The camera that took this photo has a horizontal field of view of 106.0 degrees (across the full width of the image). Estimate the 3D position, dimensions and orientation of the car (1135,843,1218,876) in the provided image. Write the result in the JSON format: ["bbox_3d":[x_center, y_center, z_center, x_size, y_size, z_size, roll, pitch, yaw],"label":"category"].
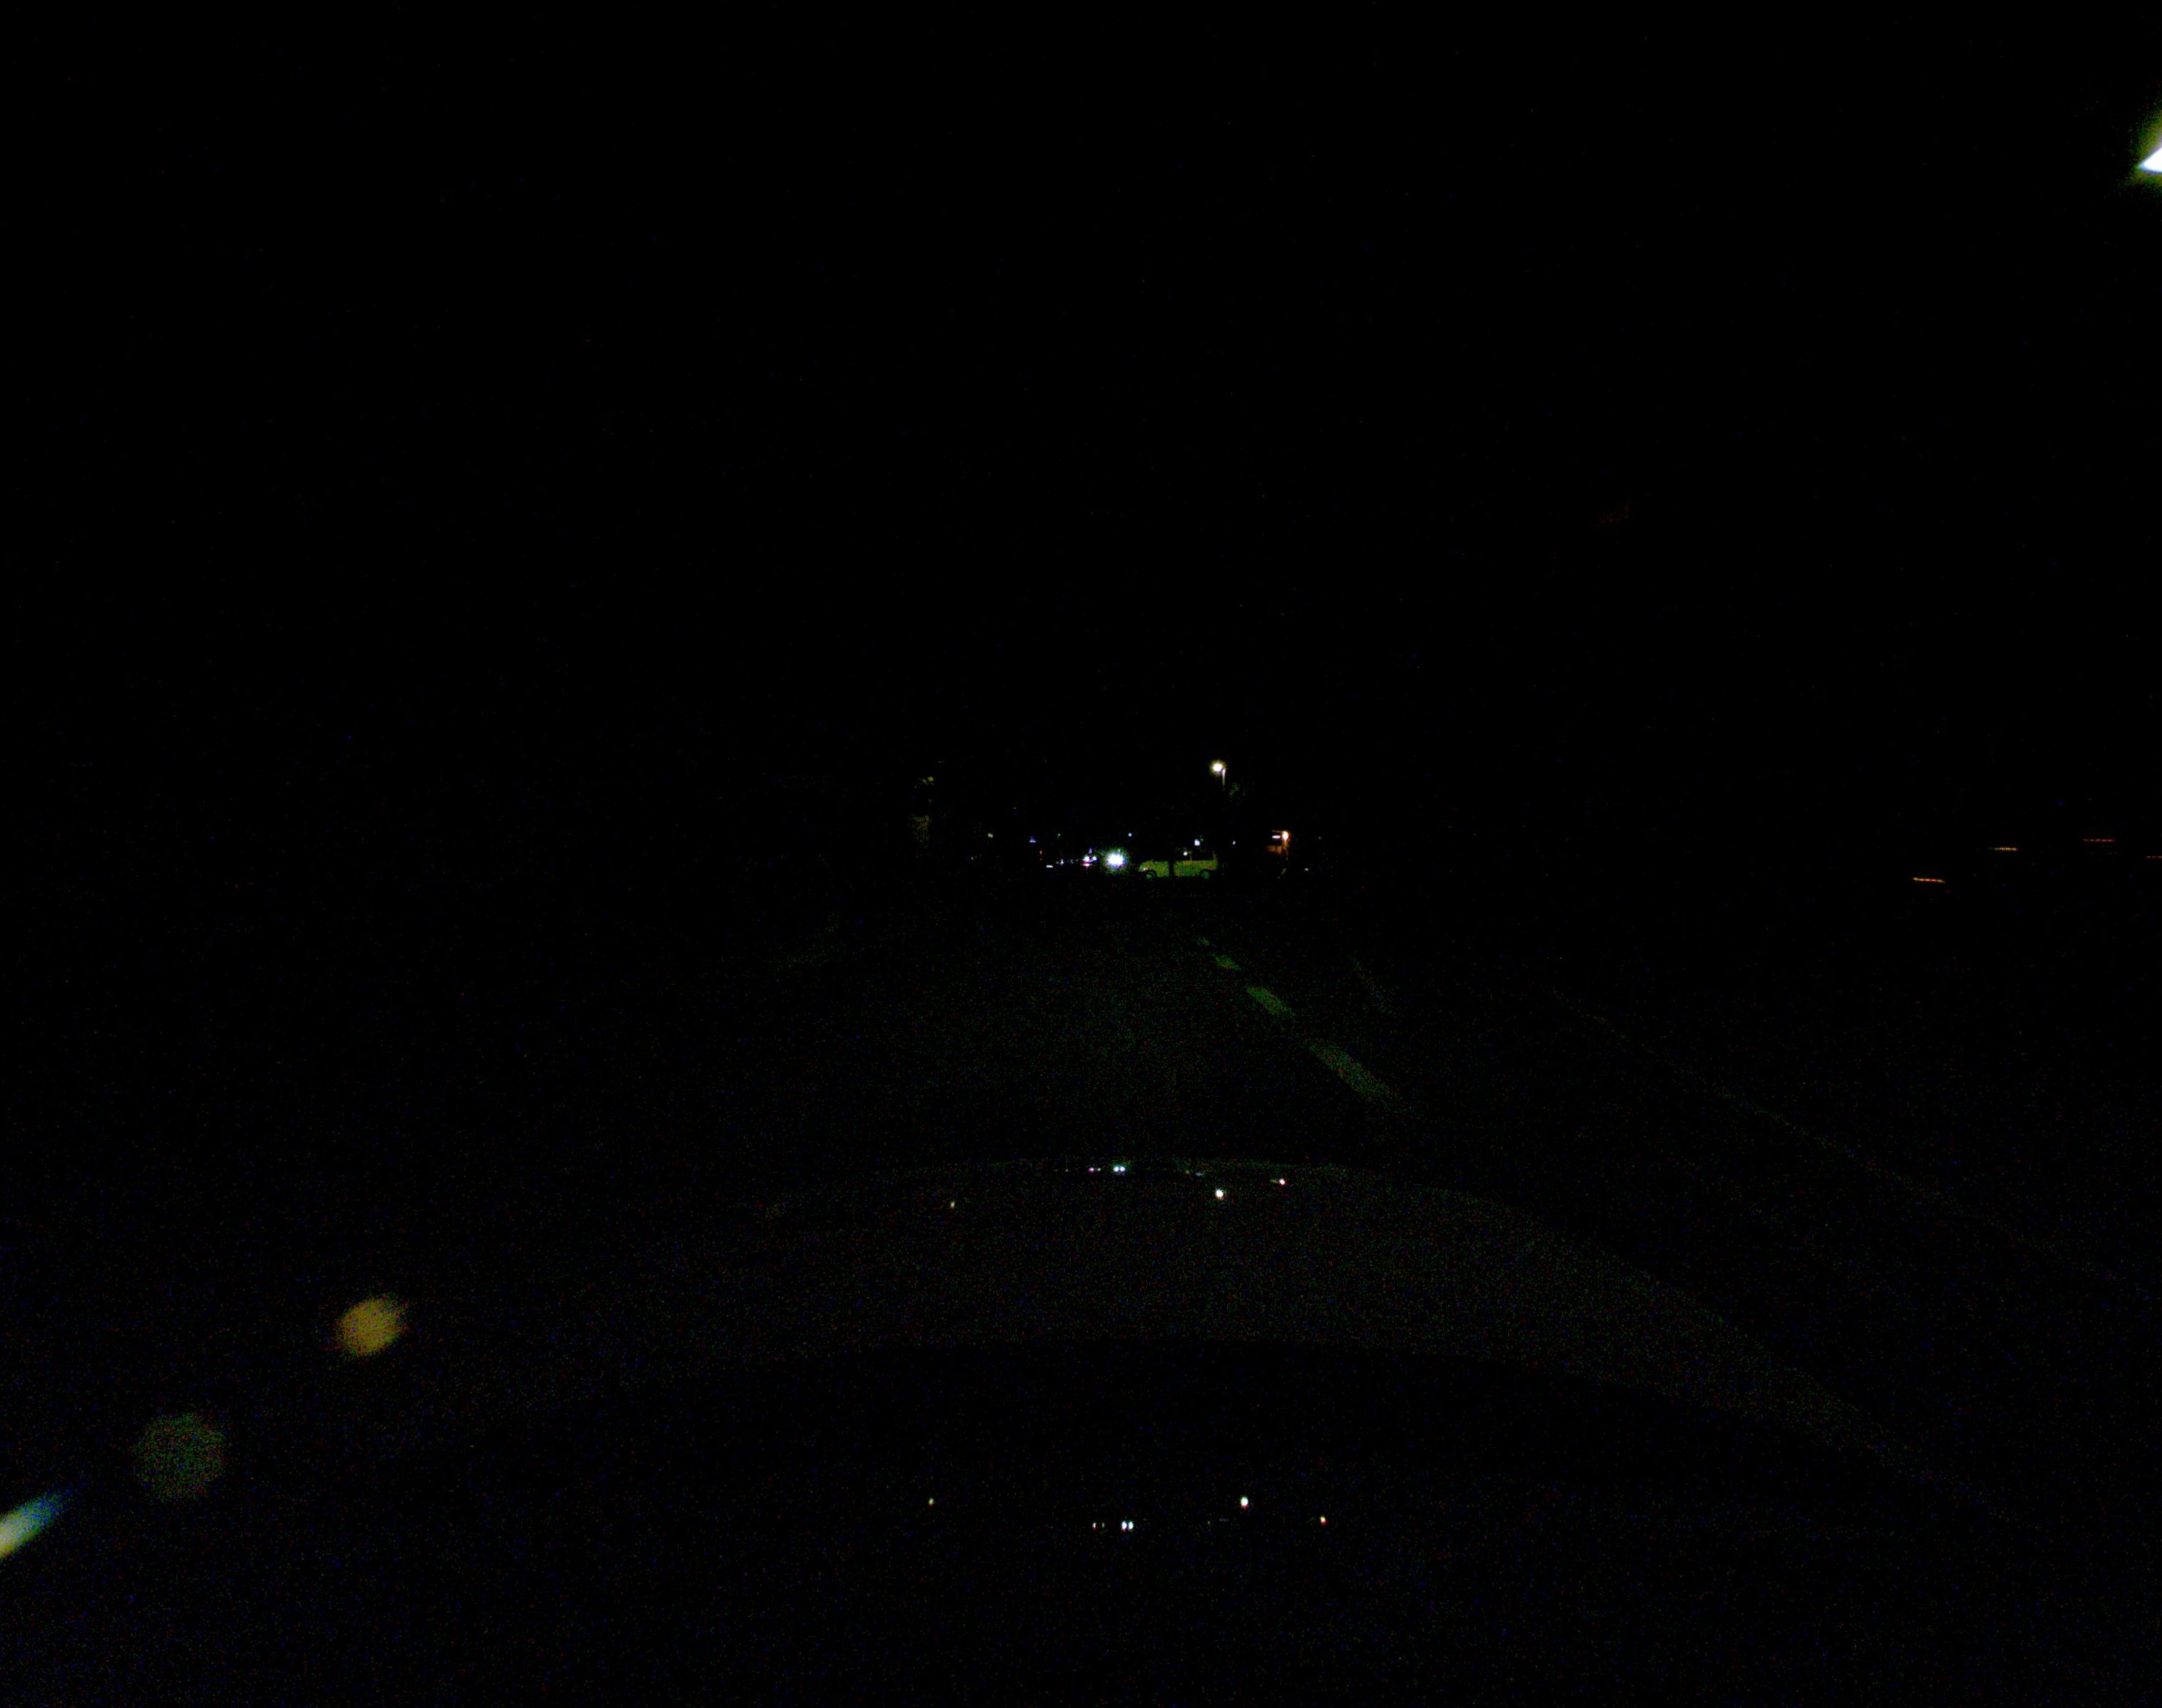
[{"bbox_3d":[6.132,0.364,52.757,5.166,2.013,2.101,-1,0,0],"label":"car"}]

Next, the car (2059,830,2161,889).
[{"bbox_3d":[29.166,0.089,22.582,4.723,1.474,1.746,-2,0,-29],"label":"car"}]

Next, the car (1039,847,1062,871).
[{"bbox_3d":[-2.675,0.422,73.293,1.819,1.986,4.465,2,0,0],"label":"car"}]

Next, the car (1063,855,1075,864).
[{"bbox_3d":[-1.801,0.765,122.224,1.677,1.331,3.599,0,0,0],"label":"car"}]

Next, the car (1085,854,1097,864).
[{"bbox_3d":[1.648,0.813,135.799,1.921,1.648,3.821,-1,0,0],"label":"car"}]

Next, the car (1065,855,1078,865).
[{"bbox_3d":[-1.235,0.789,106.691,1.677,1.331,3.599,0,0,0],"label":"car"}]

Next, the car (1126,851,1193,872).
[{"bbox_3d":[6.345,0.581,66.230,5.166,1.594,2.101,-1,0,0],"label":"car"}]

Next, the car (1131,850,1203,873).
[{"bbox_3d":[6.369,0.569,60.735,5.166,1.594,2.101,-1,0,0],"label":"car"}]

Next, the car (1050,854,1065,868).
[{"bbox_3d":[-2.459,0.736,85.527,1.529,1.451,3.119,0,0,0],"label":"car"}]

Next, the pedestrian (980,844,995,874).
[{"bbox_3d":[-6.461,0.343,56.490,0.782,2.013,1.204,2,0,1],"label":"pedestrian"}]

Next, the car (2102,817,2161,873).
[{"bbox_3d":[33.843,-0.314,25.416,4.340,1.670,1.746,-2,0,-29],"label":"car"}]

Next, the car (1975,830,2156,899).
[{"bbox_3d":[24.442,0.218,20.223,4.032,1.548,1.602,-1,0,-20],"label":"car"}]

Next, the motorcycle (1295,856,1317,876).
[{"bbox_3d":[15.354,0.796,55.517,1.060,1.327,2.722,0,1,25],"label":"motorcycle"}]

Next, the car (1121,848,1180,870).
[{"bbox_3d":[6.343,0.415,74.390,5.149,1.887,2.108,-1,0,10],"label":"car"}]

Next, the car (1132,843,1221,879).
[{"bbox_3d":[5.778,0.399,49.642,5.166,2.013,2.101,-1,0,0],"label":"car"}]

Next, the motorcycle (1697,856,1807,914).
[{"bbox_3d":[15.157,0.679,18.392,2.262,1.214,0.708,-1,0,-15],"label":"motorcycle"}]

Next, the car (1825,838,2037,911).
[{"bbox_3d":[19.588,0.431,18.816,3.625,1.479,1.855,-1,0,-14],"label":"car"}]

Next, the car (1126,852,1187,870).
[{"bbox_3d":[6.579,0.621,71.744,5.166,1.469,2.101,-1,0,0],"label":"car"}]
